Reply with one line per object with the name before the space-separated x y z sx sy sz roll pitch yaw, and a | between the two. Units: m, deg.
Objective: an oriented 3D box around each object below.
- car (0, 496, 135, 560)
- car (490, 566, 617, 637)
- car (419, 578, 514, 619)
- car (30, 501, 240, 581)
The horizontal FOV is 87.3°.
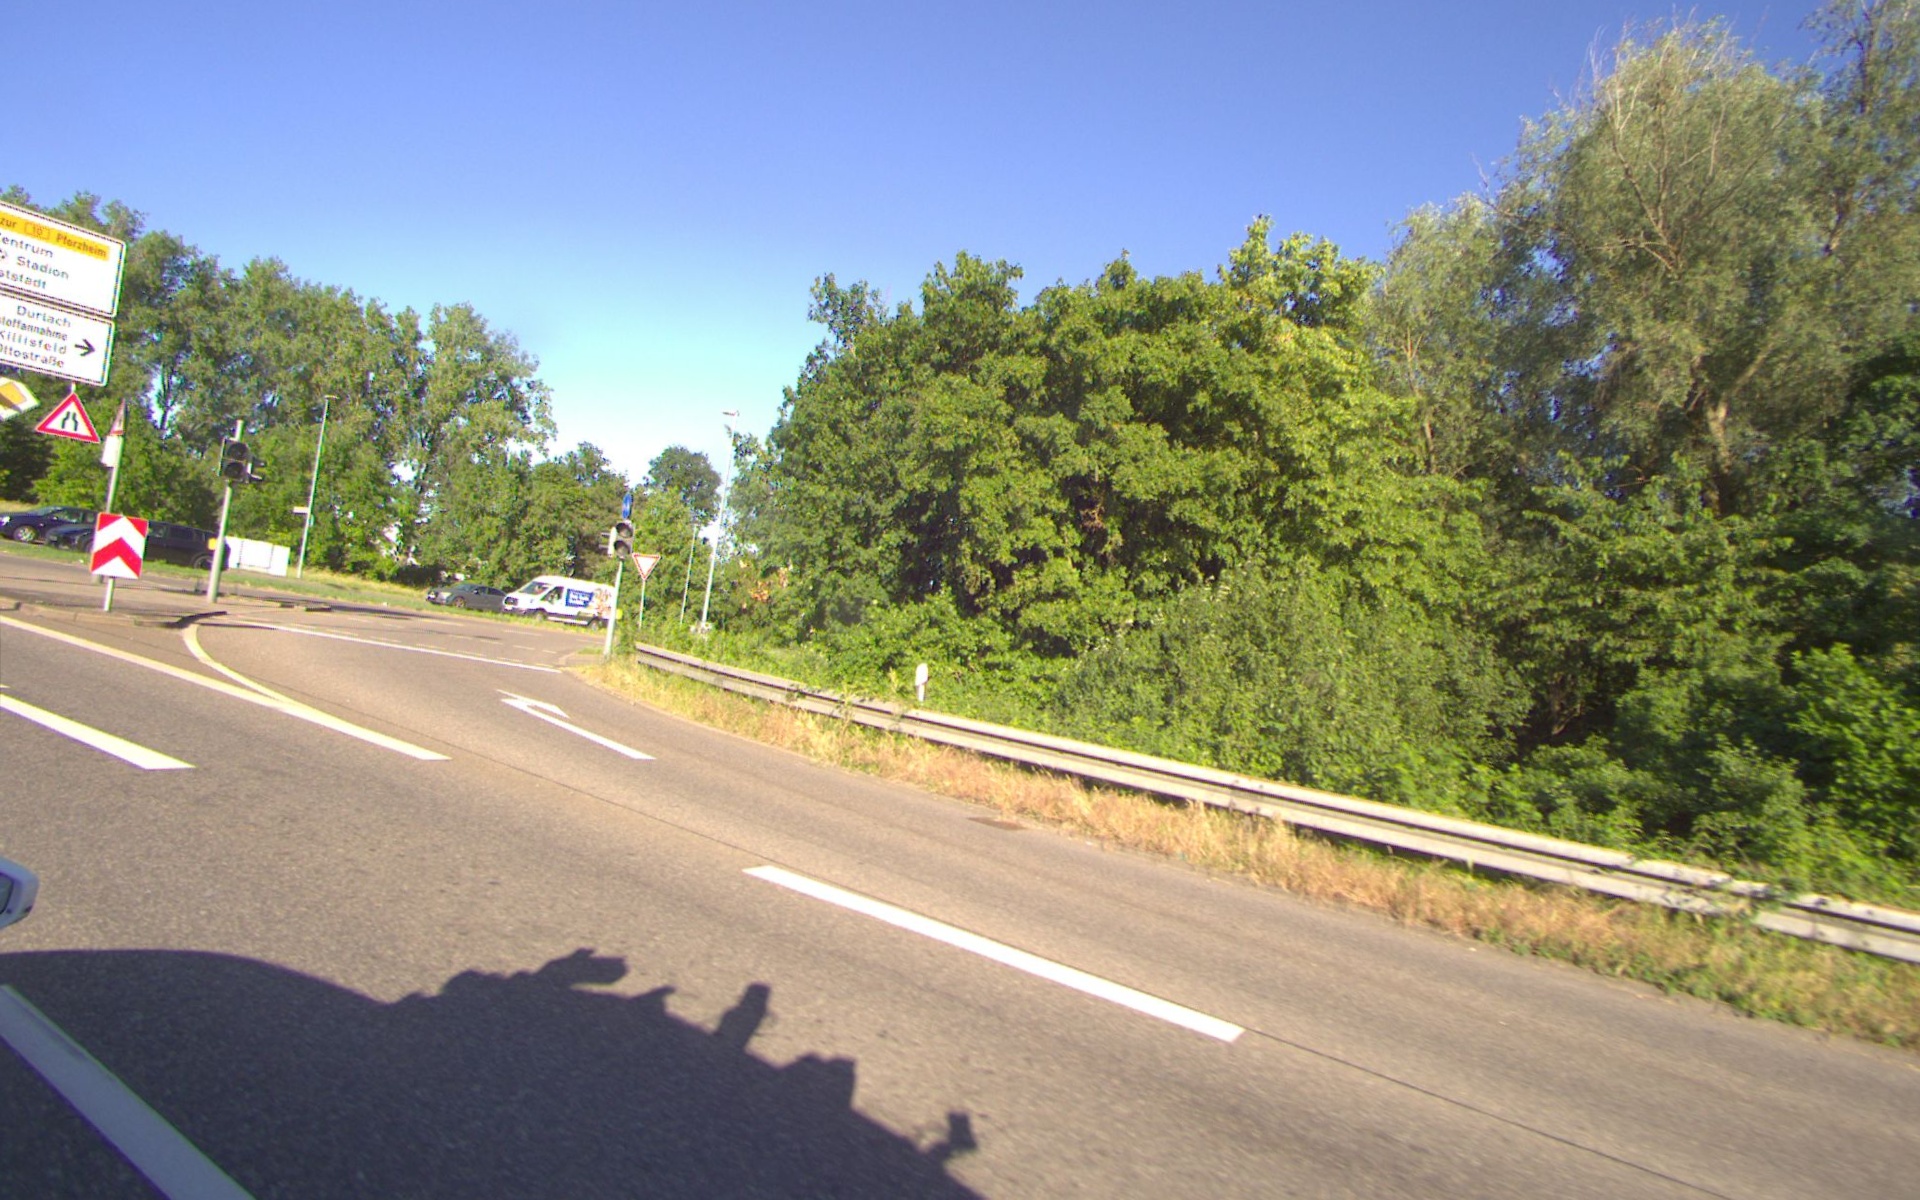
car | -31.259 -2.513 34.765 1.665 1.417 3.760 9 -4 30
car | -19.550 0.112 48.680 2.072 2.433 5.291 8 -5 28
car | -23.859 -0.049 48.754 1.585 1.402 3.699 7 -4 34
car | -25.262 -1.755 30.986 1.965 1.479 4.475 8 -4 28
